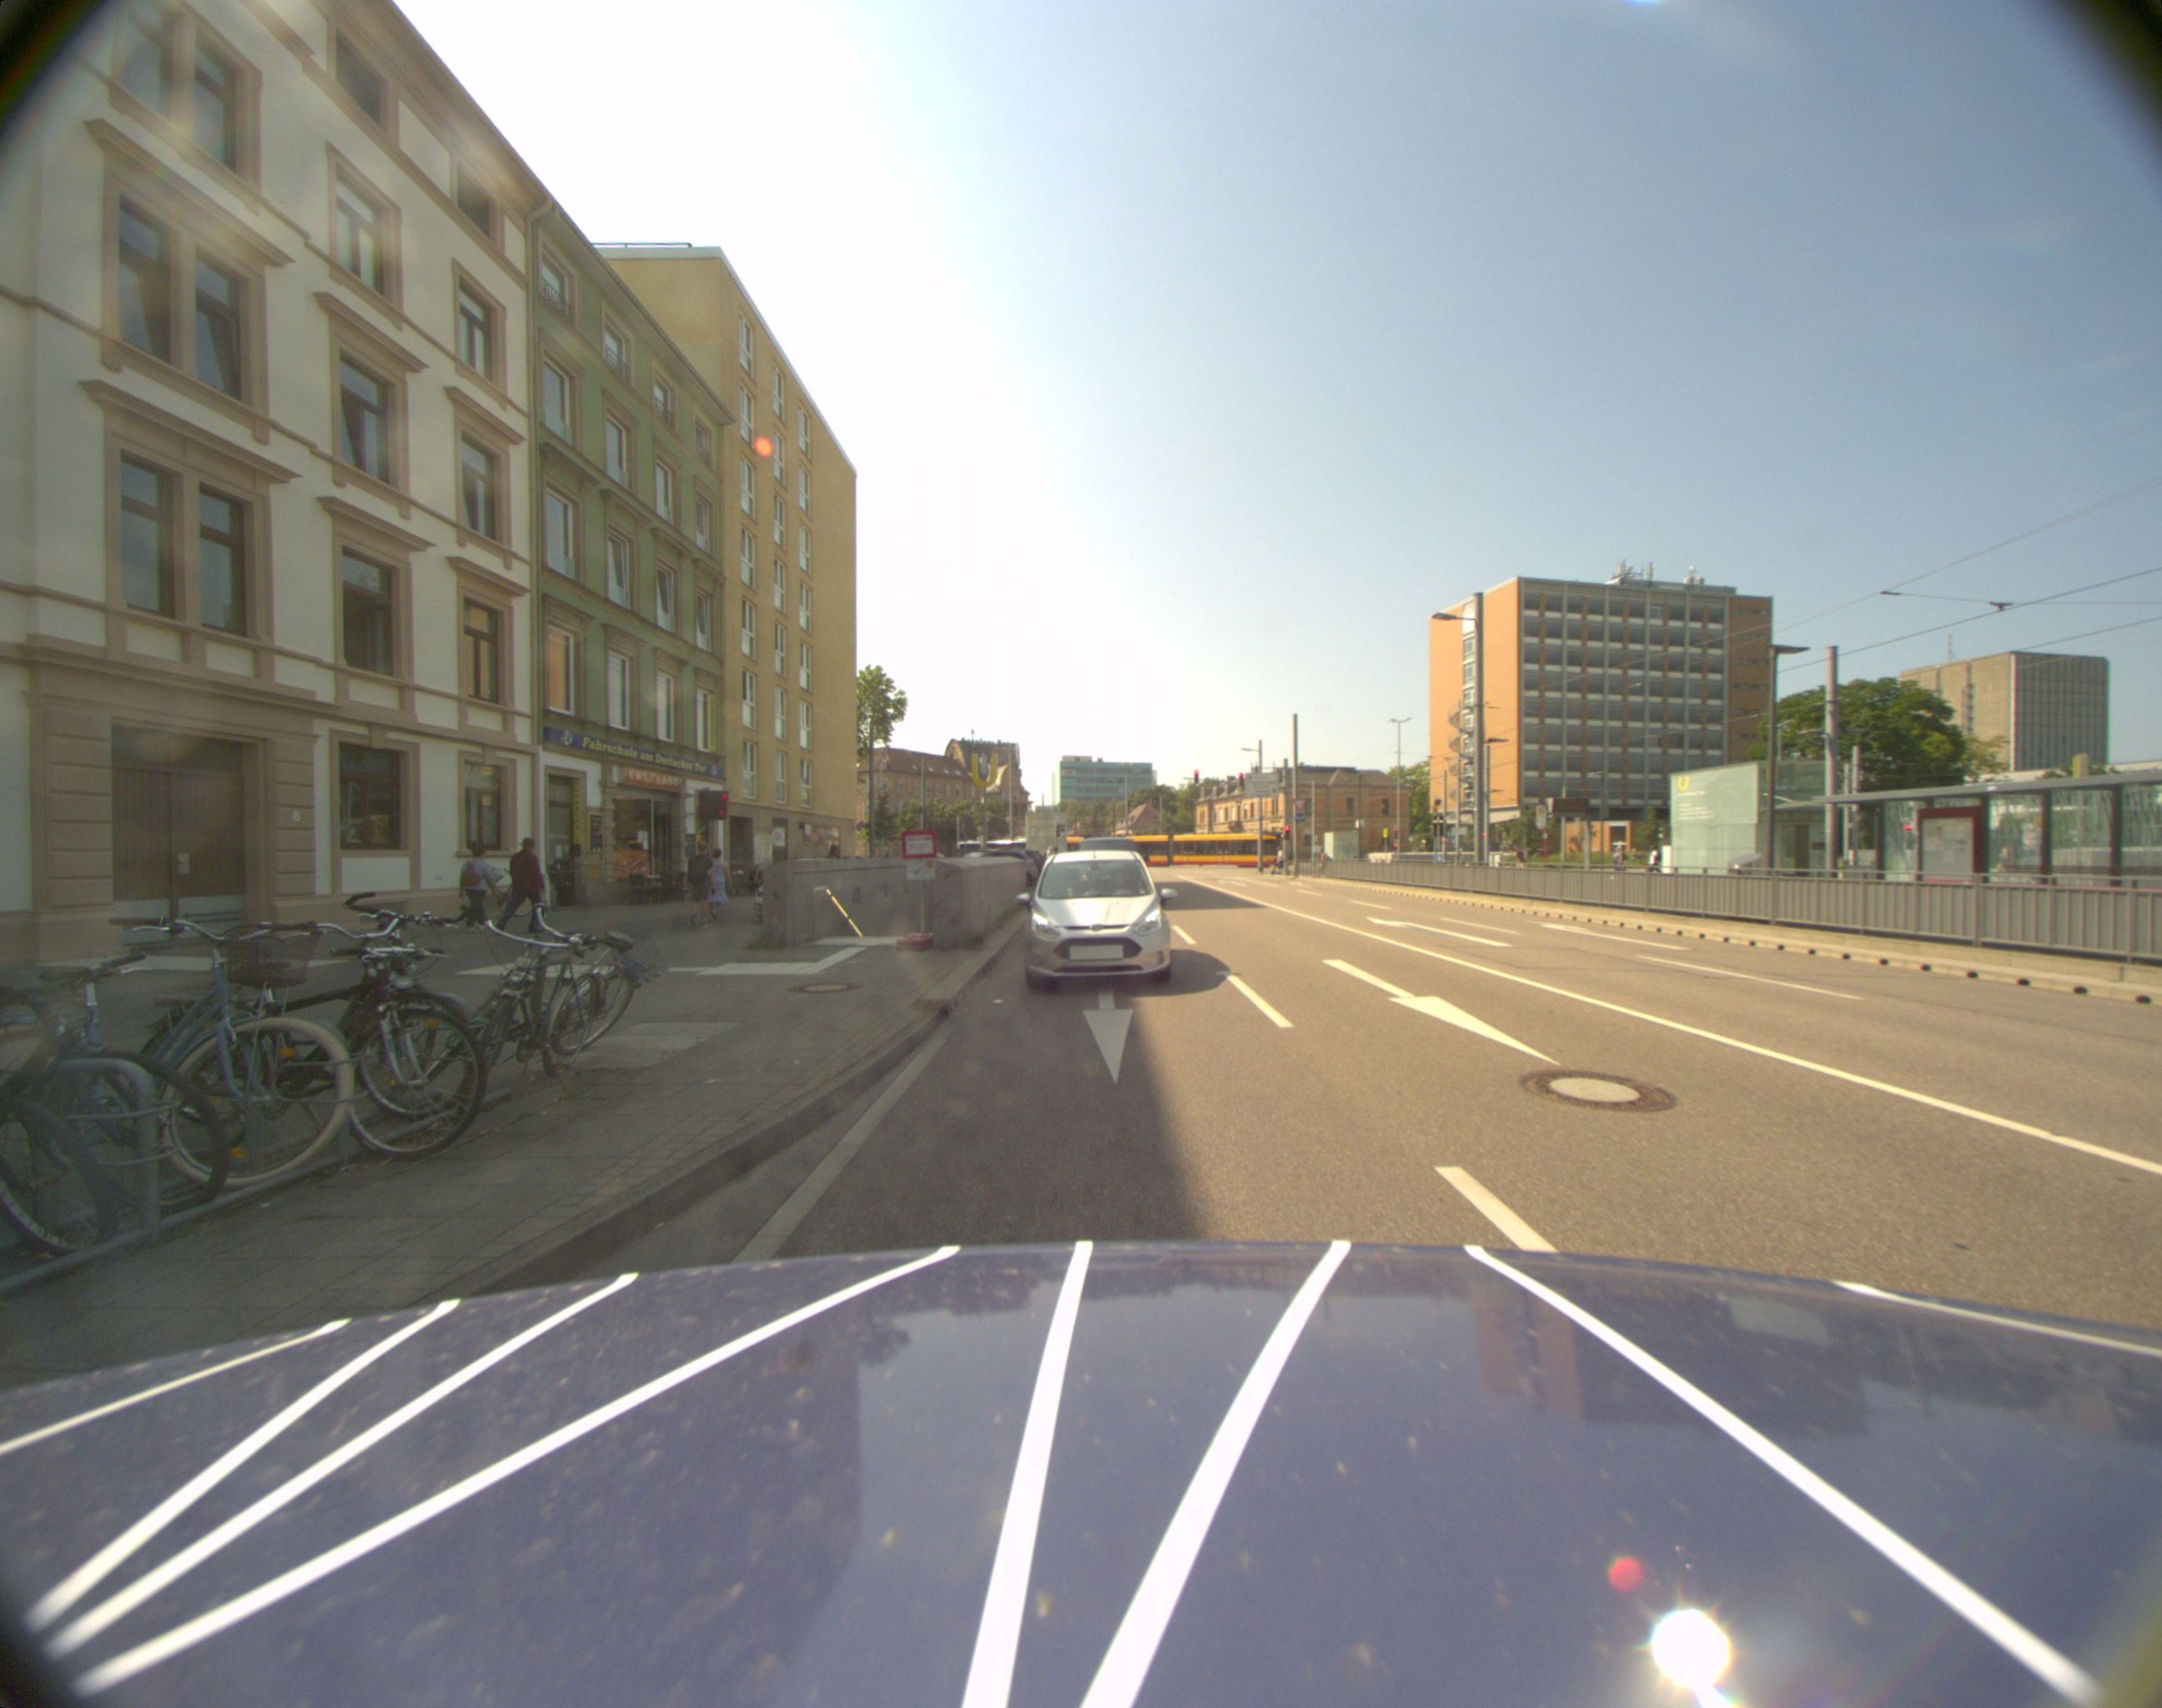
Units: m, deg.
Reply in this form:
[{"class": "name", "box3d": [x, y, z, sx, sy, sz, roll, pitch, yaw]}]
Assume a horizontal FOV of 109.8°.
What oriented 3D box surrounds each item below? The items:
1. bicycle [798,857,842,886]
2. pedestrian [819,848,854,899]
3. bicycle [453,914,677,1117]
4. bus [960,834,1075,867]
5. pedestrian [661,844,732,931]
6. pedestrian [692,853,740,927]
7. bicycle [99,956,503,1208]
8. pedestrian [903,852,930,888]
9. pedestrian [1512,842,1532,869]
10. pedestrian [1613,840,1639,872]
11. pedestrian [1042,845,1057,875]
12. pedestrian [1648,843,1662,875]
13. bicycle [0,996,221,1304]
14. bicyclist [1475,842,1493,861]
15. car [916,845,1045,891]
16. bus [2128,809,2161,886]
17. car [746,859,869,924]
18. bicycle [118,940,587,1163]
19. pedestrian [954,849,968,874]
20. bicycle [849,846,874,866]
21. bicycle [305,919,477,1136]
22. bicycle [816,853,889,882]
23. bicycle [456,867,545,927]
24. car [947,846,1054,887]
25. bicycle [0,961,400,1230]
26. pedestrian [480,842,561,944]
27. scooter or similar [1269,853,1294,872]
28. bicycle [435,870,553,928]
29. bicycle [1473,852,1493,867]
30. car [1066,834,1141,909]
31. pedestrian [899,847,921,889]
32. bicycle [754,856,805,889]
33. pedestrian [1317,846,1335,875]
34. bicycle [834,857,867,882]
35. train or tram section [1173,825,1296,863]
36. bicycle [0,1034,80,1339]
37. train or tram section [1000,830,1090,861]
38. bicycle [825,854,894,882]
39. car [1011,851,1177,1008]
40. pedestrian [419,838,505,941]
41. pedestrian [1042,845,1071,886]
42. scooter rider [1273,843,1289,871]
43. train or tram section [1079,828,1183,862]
[{"class": "bicycle", "box3d": [-11.524, 0.763, 33.654, 0.941, 1.231, 2.423, 0, 0, 4]}, {"class": "pedestrian", "box3d": [-7.843, 0.598, 24.348, 0.854, 1.573, 0.968, -1, 2, -32]}, {"class": "bicycle", "box3d": [-3.442, 1.015, 5.231, 0.477, 1.065, 1.506, 0, 1, 1]}, {"class": "bus", "box3d": [-6.437, -0.327, 75.186, 12.048, 3.046, 2.740, 0, 0, 31]}, {"class": "pedestrian", "box3d": [-7.877, 0.678, 15.604, 0.851, 1.718, 0.972, 1, -1, 8]}, {"class": "pedestrian", "box3d": [-8.164, 0.782, 16.977, 0.854, 1.573, 0.968, -1, 2, -32]}, {"class": "bicycle", "box3d": [-3.651, 1.052, 3.599, 1.541, 1.065, 0.365, -1, 0, 1]}, {"class": "pedestrian", "box3d": [-7.392, 0.704, 34.124, 0.854, 1.573, 0.968, -1, 2, -32]}, {"class": "pedestrian", "box3d": [29.173, 0.112, 50.252, 0.785, 1.770, 0.959, 0, 2, 4]}, {"class": "pedestrian", "box3d": [30.890, 0.088, 43.096, 0.785, 1.770, 0.959, 0, 2, 4]}, {"class": "pedestrian", "box3d": [-1.918, 0.372, 46.333, 0.821, 1.797, 0.814, -2, 1, 1]}, {"class": "pedestrian", "box3d": [27.928, 0.242, 36.978, 0.462, 1.532, 0.438, 0, 1, 25]}, {"class": "bicycle", "box3d": [-4.202, 1.081, 2.852, 1.541, 1.010, 0.365, -1, 0, 1]}, {"class": "bicyclist", "box3d": [30.066, -0.199, 56.712, 0.877, 1.451, 0.980, 0, 1, 4]}, {"class": "car", "box3d": [-3.917, 0.487, 30.106, 4.675, 1.704, 2.038, -1, 1, -41]}, {"class": "bus", "box3d": [51.932, -0.304, 29.633, 12.721, 3.311, 2.683, 0, 1, 45]}, {"class": "car", "box3d": [-6.548, 0.835, 18.575, 1.635, 1.432, 3.620, 0, 0, 1]}, {"class": "bicycle", "box3d": [-3.957, 1.058, 4.208, 2.127, 1.065, 0.382, -1, 0, -3]}, {"class": "pedestrian", "box3d": [-7.818, 0.469, 49.357, 0.793, 1.600, 0.949, 0, 1, -2]}, {"class": "bicycle", "box3d": [-13.511, 0.103, 46.750, 0.794, 1.231, 2.435, 0, 1, 1]}, {"class": "bicycle", "box3d": [-4.600, 1.037, 5.031, 1.559, 1.113, 0.694, -2, 0, 43]}, {"class": "bicycle", "box3d": [-11.364, 0.658, 37.907, 3.370, 1.396, 0.901, 0, 1, -35]}, {"class": "bicycle", "box3d": [-12.426, 0.882, 16.340, 0.459, 1.177, 1.847, 0, 1, 1]}, {"class": "car", "box3d": [-3.556, 0.511, 34.091, 4.401, 1.678, 1.981, -1, 1, -41]}, {"class": "bicycle", "box3d": [-4.124, 1.052, 3.393, 1.839, 1.065, 0.365, -1, 0, 1]}, {"class": "pedestrian", "box3d": [-10.012, 0.674, 13.607, 0.685, 1.763, 1.018, 0, 0, 1]}, {"class": "scooter or similar", "box3d": [12.133, 0.531, 46.044, 1.341, 1.142, 0.709, 0, 1, 2]}, {"class": "bicycle", "box3d": [-12.432, 0.931, 16.225, 0.481, 1.139, 2.472, 0, -2, 3]}, {"class": "bicycle", "box3d": [30.016, 0.412, 56.813, 0.614, 1.063, 1.913, 0, 0, 5]}, {"class": "car", "box3d": [0.720, 0.412, 21.918, 1.899, 1.920, 4.886, 0, 1, 3]}, {"class": "pedestrian", "box3d": [-6.839, 0.560, 30.456, 0.672, 1.675, 0.943, 0, 1, 1]}, {"class": "bicycle", "box3d": [-12.076, 0.714, 30.514, 0.941, 1.231, 2.423, 0, 0, 4]}, {"class": "pedestrian", "box3d": [13.842, 0.365, 42.957, 0.574, 1.649, 0.800, 0, -1, -17]}, {"class": "bicycle", "box3d": [-11.412, 0.750, 37.693, 0.590, 1.231, 1.548, 0, 1, 34]}, {"class": "train or tram section", "box3d": [15.132, -0.963, 76.009, 12.181, 3.540, 2.601, 0, 1, 38]}, {"class": "bicycle", "box3d": [-4.285, 1.116, 2.491, 1.541, 0.946, 0.365, -1, 0, 1]}, {"class": "train or tram section", "box3d": [-4.505, -0.954, 91.484, 12.181, 3.540, 2.601, 0, 1, 38]}, {"class": "bicycle", "box3d": [-11.645, 0.715, 40.011, 3.370, 1.396, 0.901, 0, 1, -35]}, {"class": "car", "box3d": [0.166, 0.766, 9.964, 1.691, 1.586, 4.361, 0, 1, 1]}, {"class": "pedestrian", "box3d": [-11.048, 0.618, 13.594, 0.685, 1.763, 1.018, 0, 0, 1]}, {"class": "pedestrian", "box3d": [-1.109, 0.514, 33.836, 0.870, 1.741, 0.871, -3, -1, -32]}, {"class": "scooter rider", "box3d": [12.129, 0.178, 46.037, 0.773, 1.663, 0.779, 0, 1, -1]}, {"class": "train or tram section", "box3d": [5.315, -0.963, 83.775, 12.181, 3.540, 2.601, 0, 1, 38]}]
